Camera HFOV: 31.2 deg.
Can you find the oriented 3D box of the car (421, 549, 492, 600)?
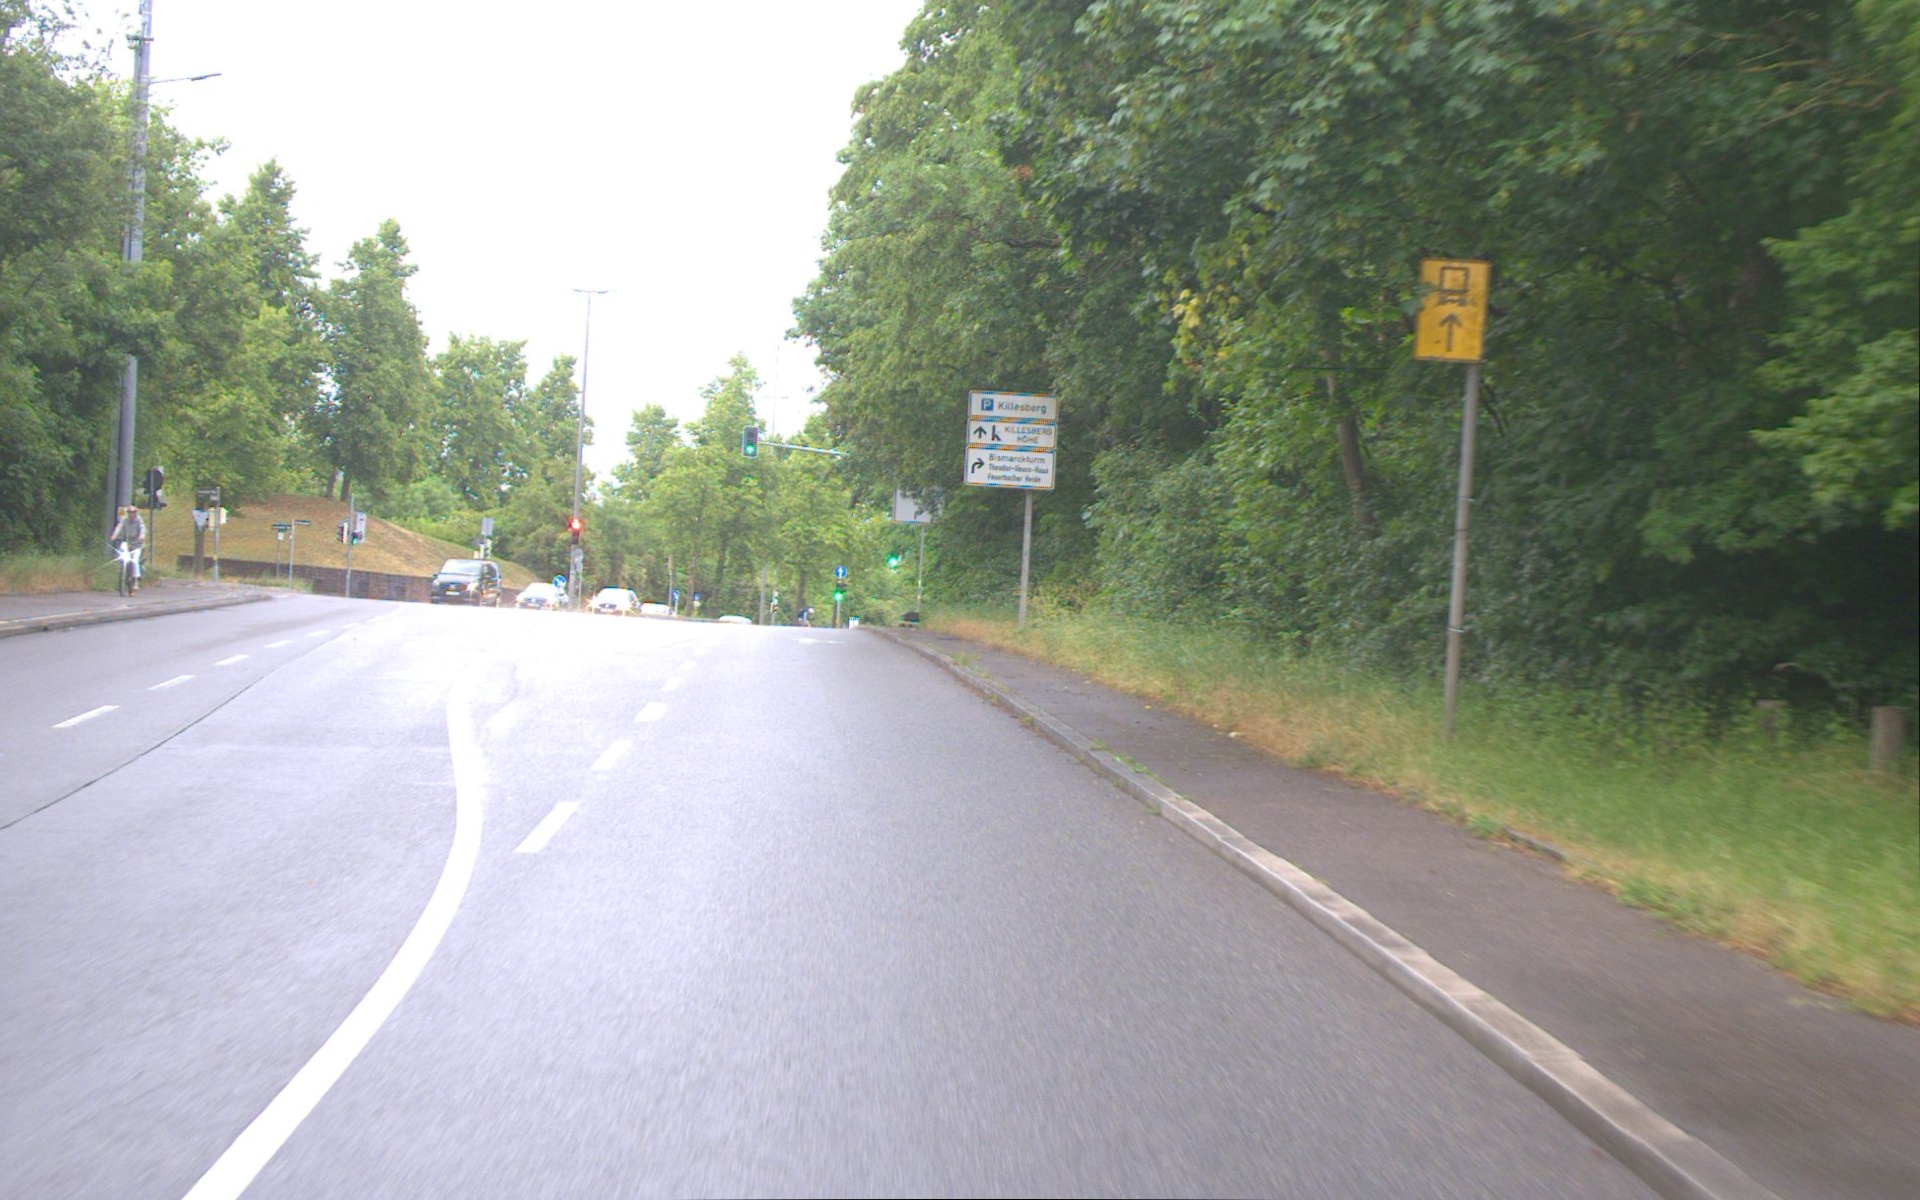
[{"bbox_3d":[-19.281,-0.970,131.904,1.993,1.842,4.000,1,-1,2],"label":"car"}]

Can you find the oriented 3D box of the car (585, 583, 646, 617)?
[{"bbox_3d":[-14.725,0.012,146.987,1.897,1.349,3.999,1,-1,4],"label":"car"}]

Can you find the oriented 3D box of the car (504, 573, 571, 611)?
[{"bbox_3d":[-18.157,-0.326,147.938,1.898,1.546,3.998,1,-1,8],"label":"car"}]

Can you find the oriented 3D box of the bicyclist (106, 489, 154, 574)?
[{"bbox_3d":[-16.286,-1.340,67.475,0.704,1.639,0.951,2,1,-3],"label":"bicyclist"}]

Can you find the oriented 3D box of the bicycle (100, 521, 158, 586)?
[{"bbox_3d":[-16.302,-0.925,67.474,0.704,1.238,2.164,2,1,-3],"label":"bicycle"}]
